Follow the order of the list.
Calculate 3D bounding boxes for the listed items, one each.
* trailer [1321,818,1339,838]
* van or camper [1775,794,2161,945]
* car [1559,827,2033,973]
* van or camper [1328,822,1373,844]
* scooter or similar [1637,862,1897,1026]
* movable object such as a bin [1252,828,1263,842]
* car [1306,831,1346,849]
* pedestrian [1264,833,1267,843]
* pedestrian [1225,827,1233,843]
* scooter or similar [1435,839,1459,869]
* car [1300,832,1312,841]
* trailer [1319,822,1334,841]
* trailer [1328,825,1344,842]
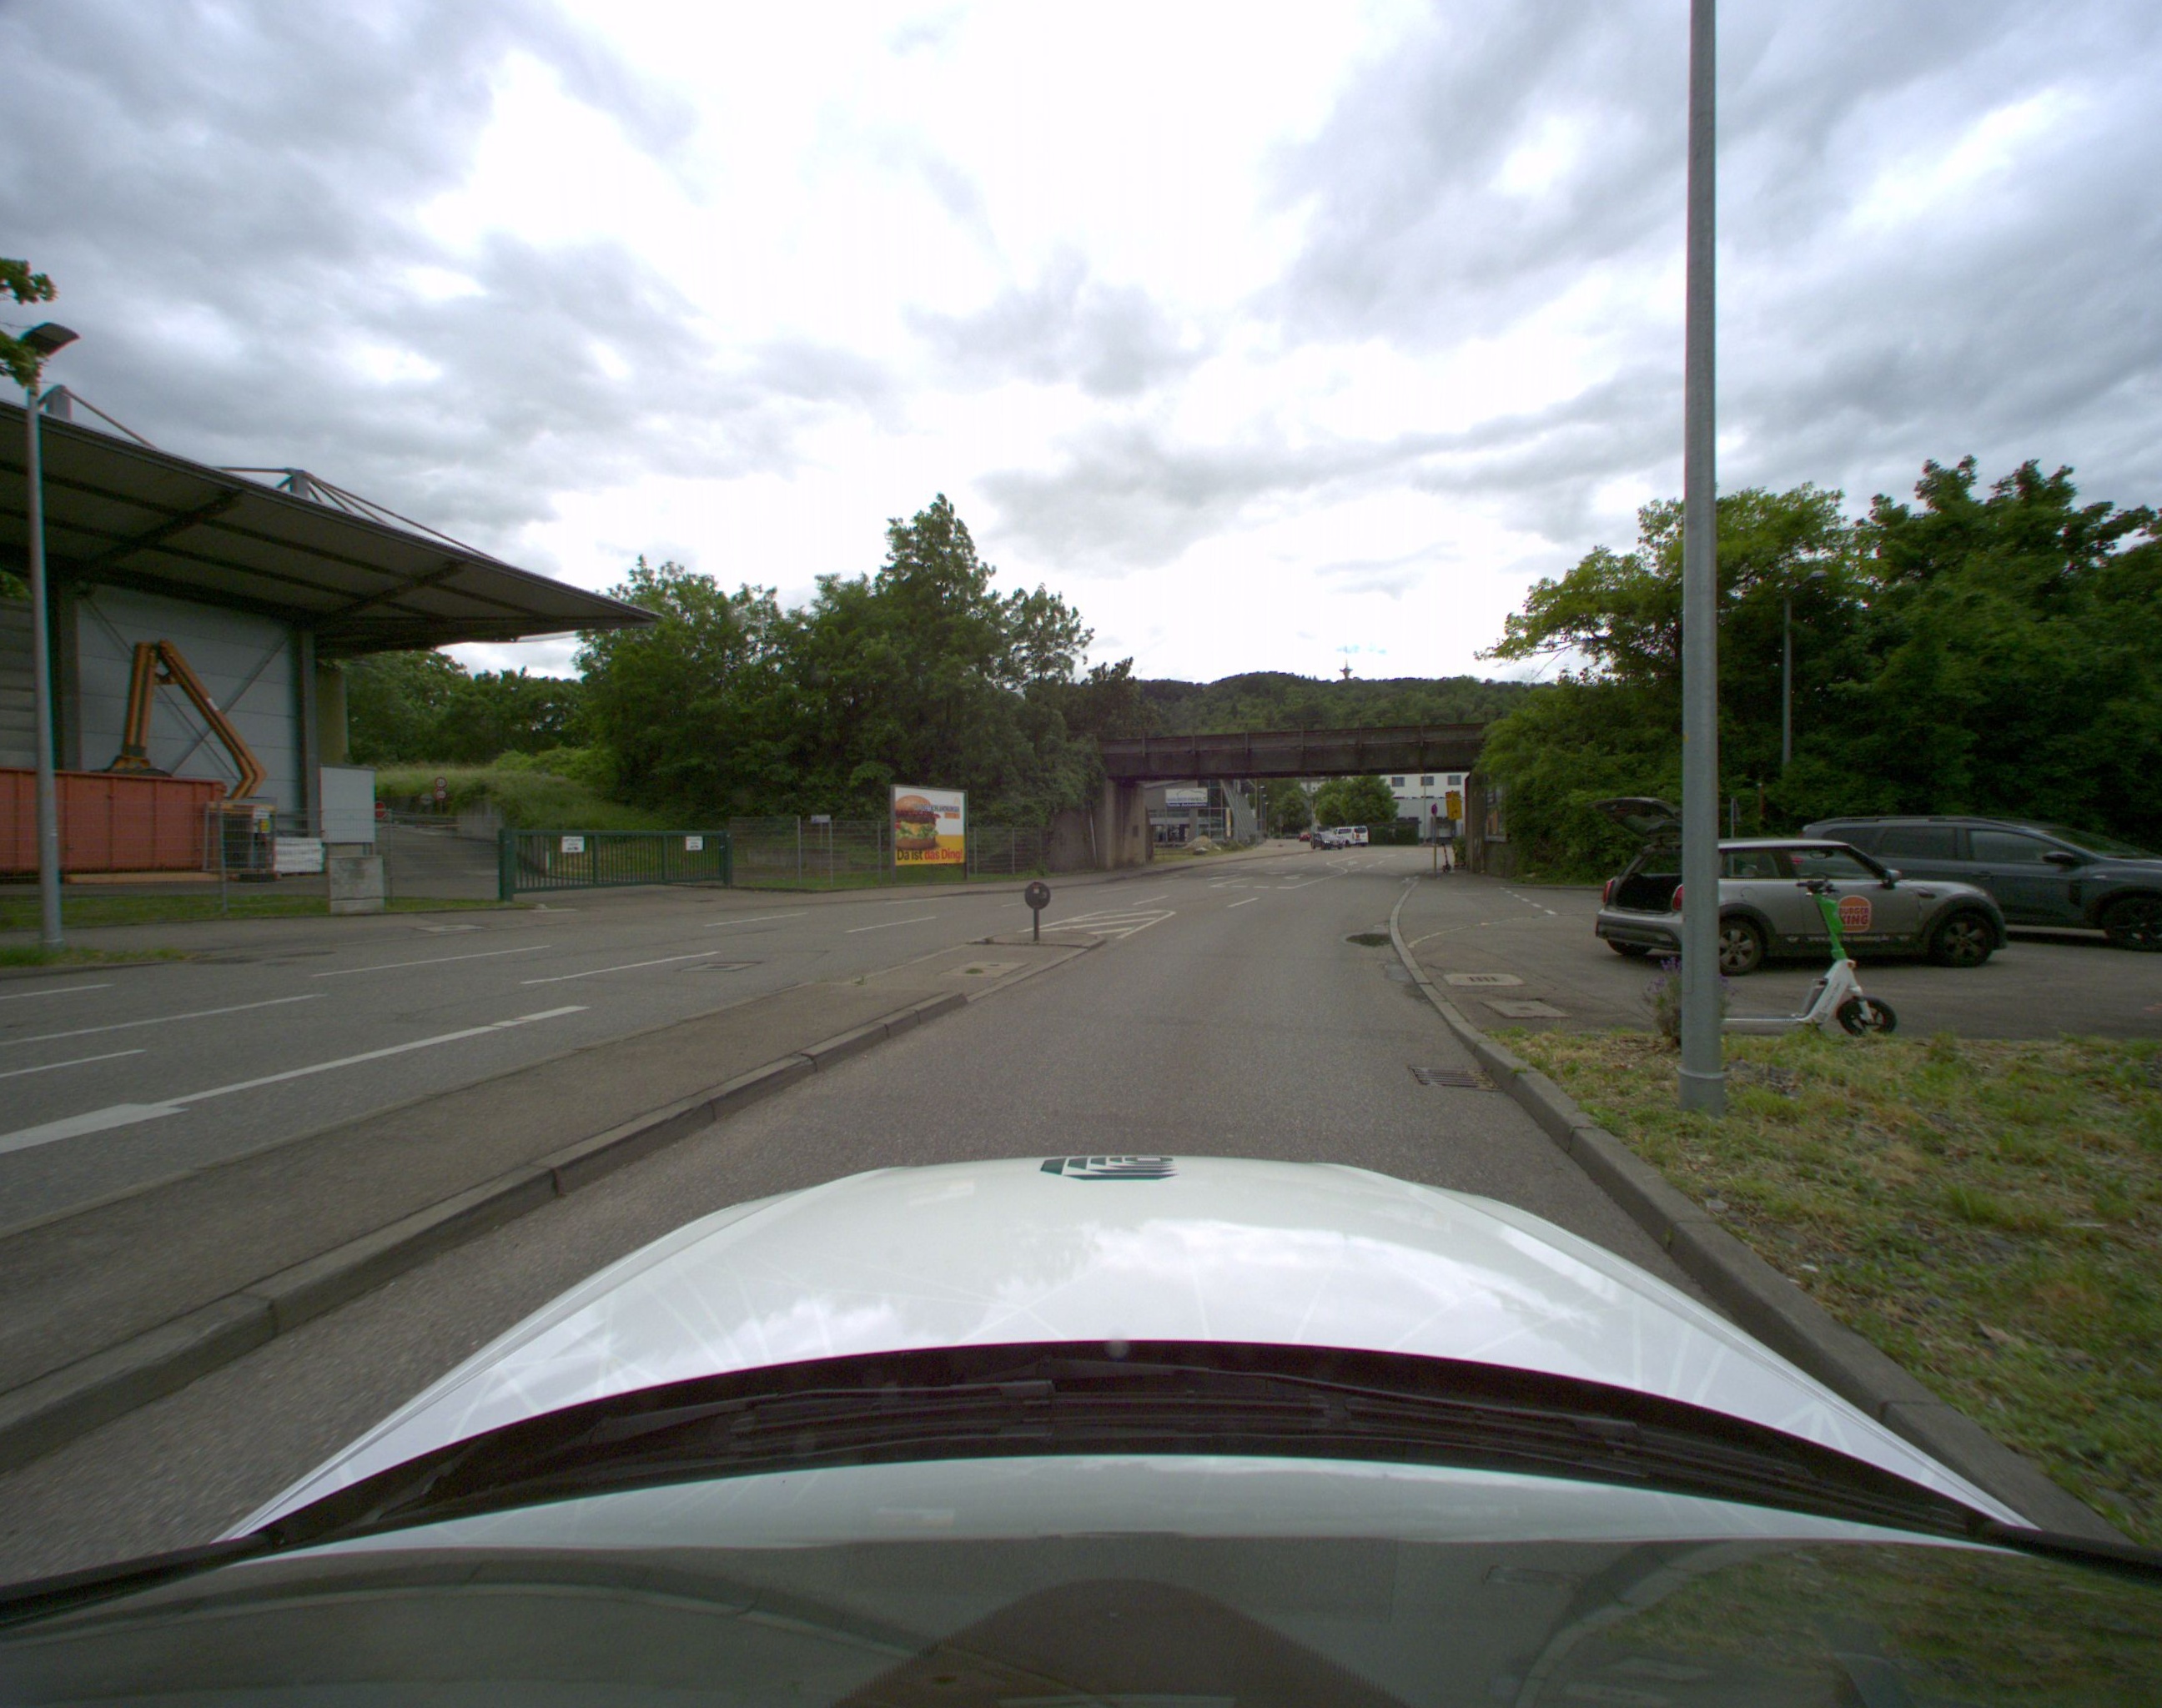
[{"bbox_3d":[47.409,-4.900,155.066,3.046,3.758,4.954,0,2,15],"label":"trailer"},{"bbox_3d":[12.476,0.154,10.970,1.832,1.694,4.477,0,0,-19],"label":"van or camper"},{"bbox_3d":[8.059,0.472,9.452,3.995,1.432,1.785,-1,1,-1],"label":"car"},{"bbox_3d":[26.679,-2.025,80.714,2.105,2.083,4.178,-1,1,-20],"label":"van or camper"},{"bbox_3d":[5.137,0.652,6.197,1.402,1.133,0.483,-2,0,24],"label":"scooter or similar"},{"bbox_3d":[21.680,-2.308,100.039,1.133,1.757,1.064,0,0,17],"label":"movable object such as a bin"},{"bbox_3d":[22.801,-1.304,76.007,1.991,1.684,4.361,-1,1,-7],"label":"car"},{"bbox_3d":[31.877,-2.824,140.678,0.623,1.673,0.761,0,0,11],"label":"pedestrian"},{"bbox_3d":[17.896,-2.297,98.430,0.822,1.868,0.719,-1,1,3],"label":"pedestrian"},{"bbox_3d":[15.864,0.001,35.345,0.500,1.236,1.675,-4,0,12],"label":"scooter or similar"},{"bbox_3d":[42.638,-3.342,154.433,1.978,1.684,4.018,0,1,17],"label":"car"},{"bbox_3d":[40.414,-3.710,134.084,2.262,2.952,4.017,0,2,15],"label":"trailer"},{"bbox_3d":[35.085,-2.844,112.122,1.979,2.343,4.017,0,2,15],"label":"trailer"}]
